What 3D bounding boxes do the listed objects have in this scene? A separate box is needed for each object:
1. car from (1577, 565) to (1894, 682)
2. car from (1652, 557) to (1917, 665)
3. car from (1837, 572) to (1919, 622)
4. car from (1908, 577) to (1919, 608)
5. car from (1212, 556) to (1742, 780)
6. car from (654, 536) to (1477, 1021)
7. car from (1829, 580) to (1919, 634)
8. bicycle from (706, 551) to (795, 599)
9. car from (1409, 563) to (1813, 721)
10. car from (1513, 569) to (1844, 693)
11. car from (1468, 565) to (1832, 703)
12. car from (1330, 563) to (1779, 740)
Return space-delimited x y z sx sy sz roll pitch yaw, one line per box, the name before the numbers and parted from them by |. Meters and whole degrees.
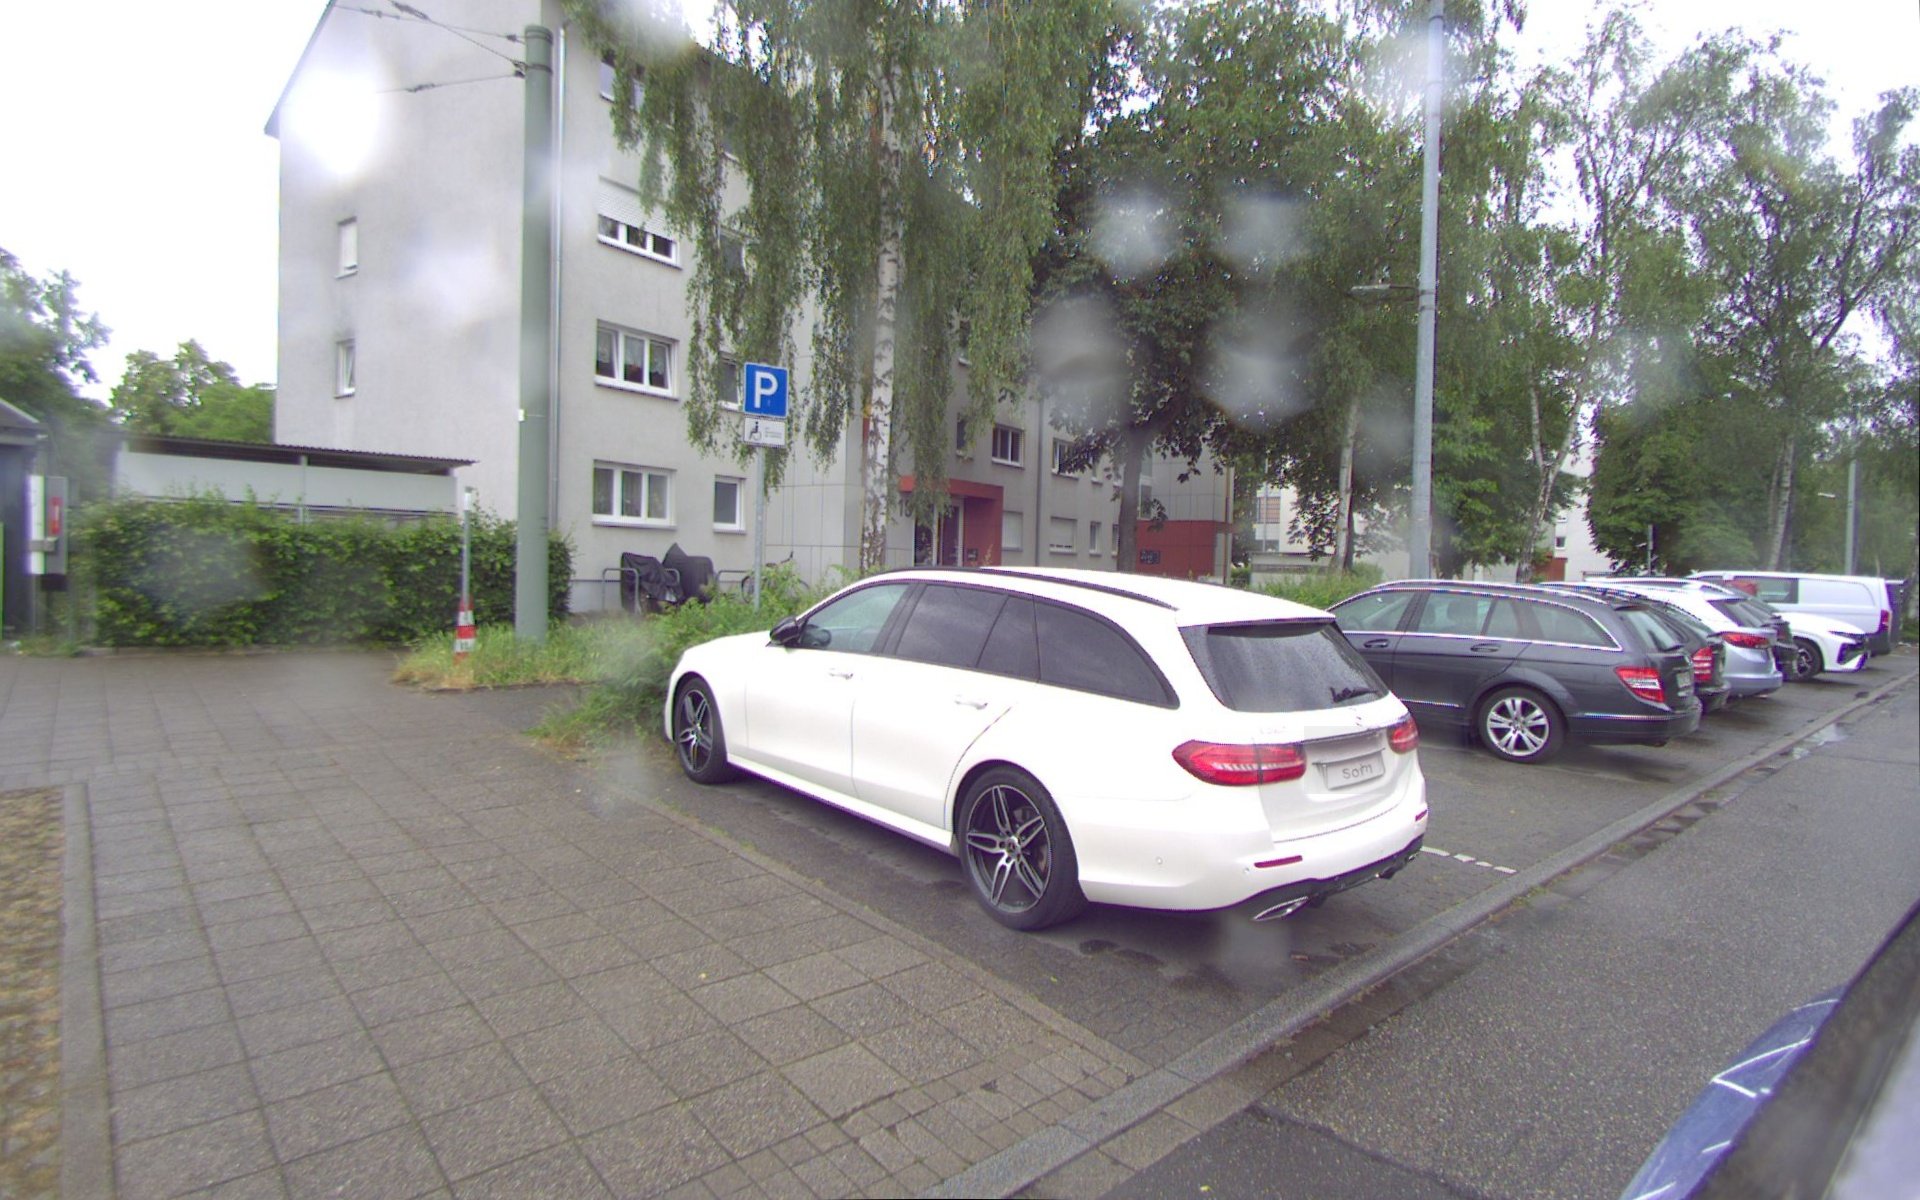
car | 13.724 0.314 18.146 1.651 1.637 4.181 0 5 -40
car | 17.528 0.135 21.664 4.172 1.888 1.654 6 5 43
car | 37.739 -0.129 40.264 1.866 1.937 3.998 -1 0 -36
car | 53.246 -0.413 53.721 1.866 1.701 3.998 -1 1 -36
car | 4.590 0.427 9.463 1.653 1.456 4.044 -1 5 -43
car | 0.085 0.475 5.609 1.651 1.456 4.622 -1 5 -41
car | 34.438 0.237 36.806 1.866 1.937 3.998 -1 0 -36
bicycle | -4.523 -0.530 21.967 0.701 1.005 1.918 0 0 37
car | 8.201 0.390 13.033 1.653 1.514 4.044 -1 5 -43
car | 11.413 0.385 16.296 1.653 1.514 4.044 -1 5 -43
car | 9.833 0.361 14.669 1.653 1.514 4.044 -1 5 -43
car | 6.548 0.417 11.491 1.653 1.456 4.044 -1 5 -43
